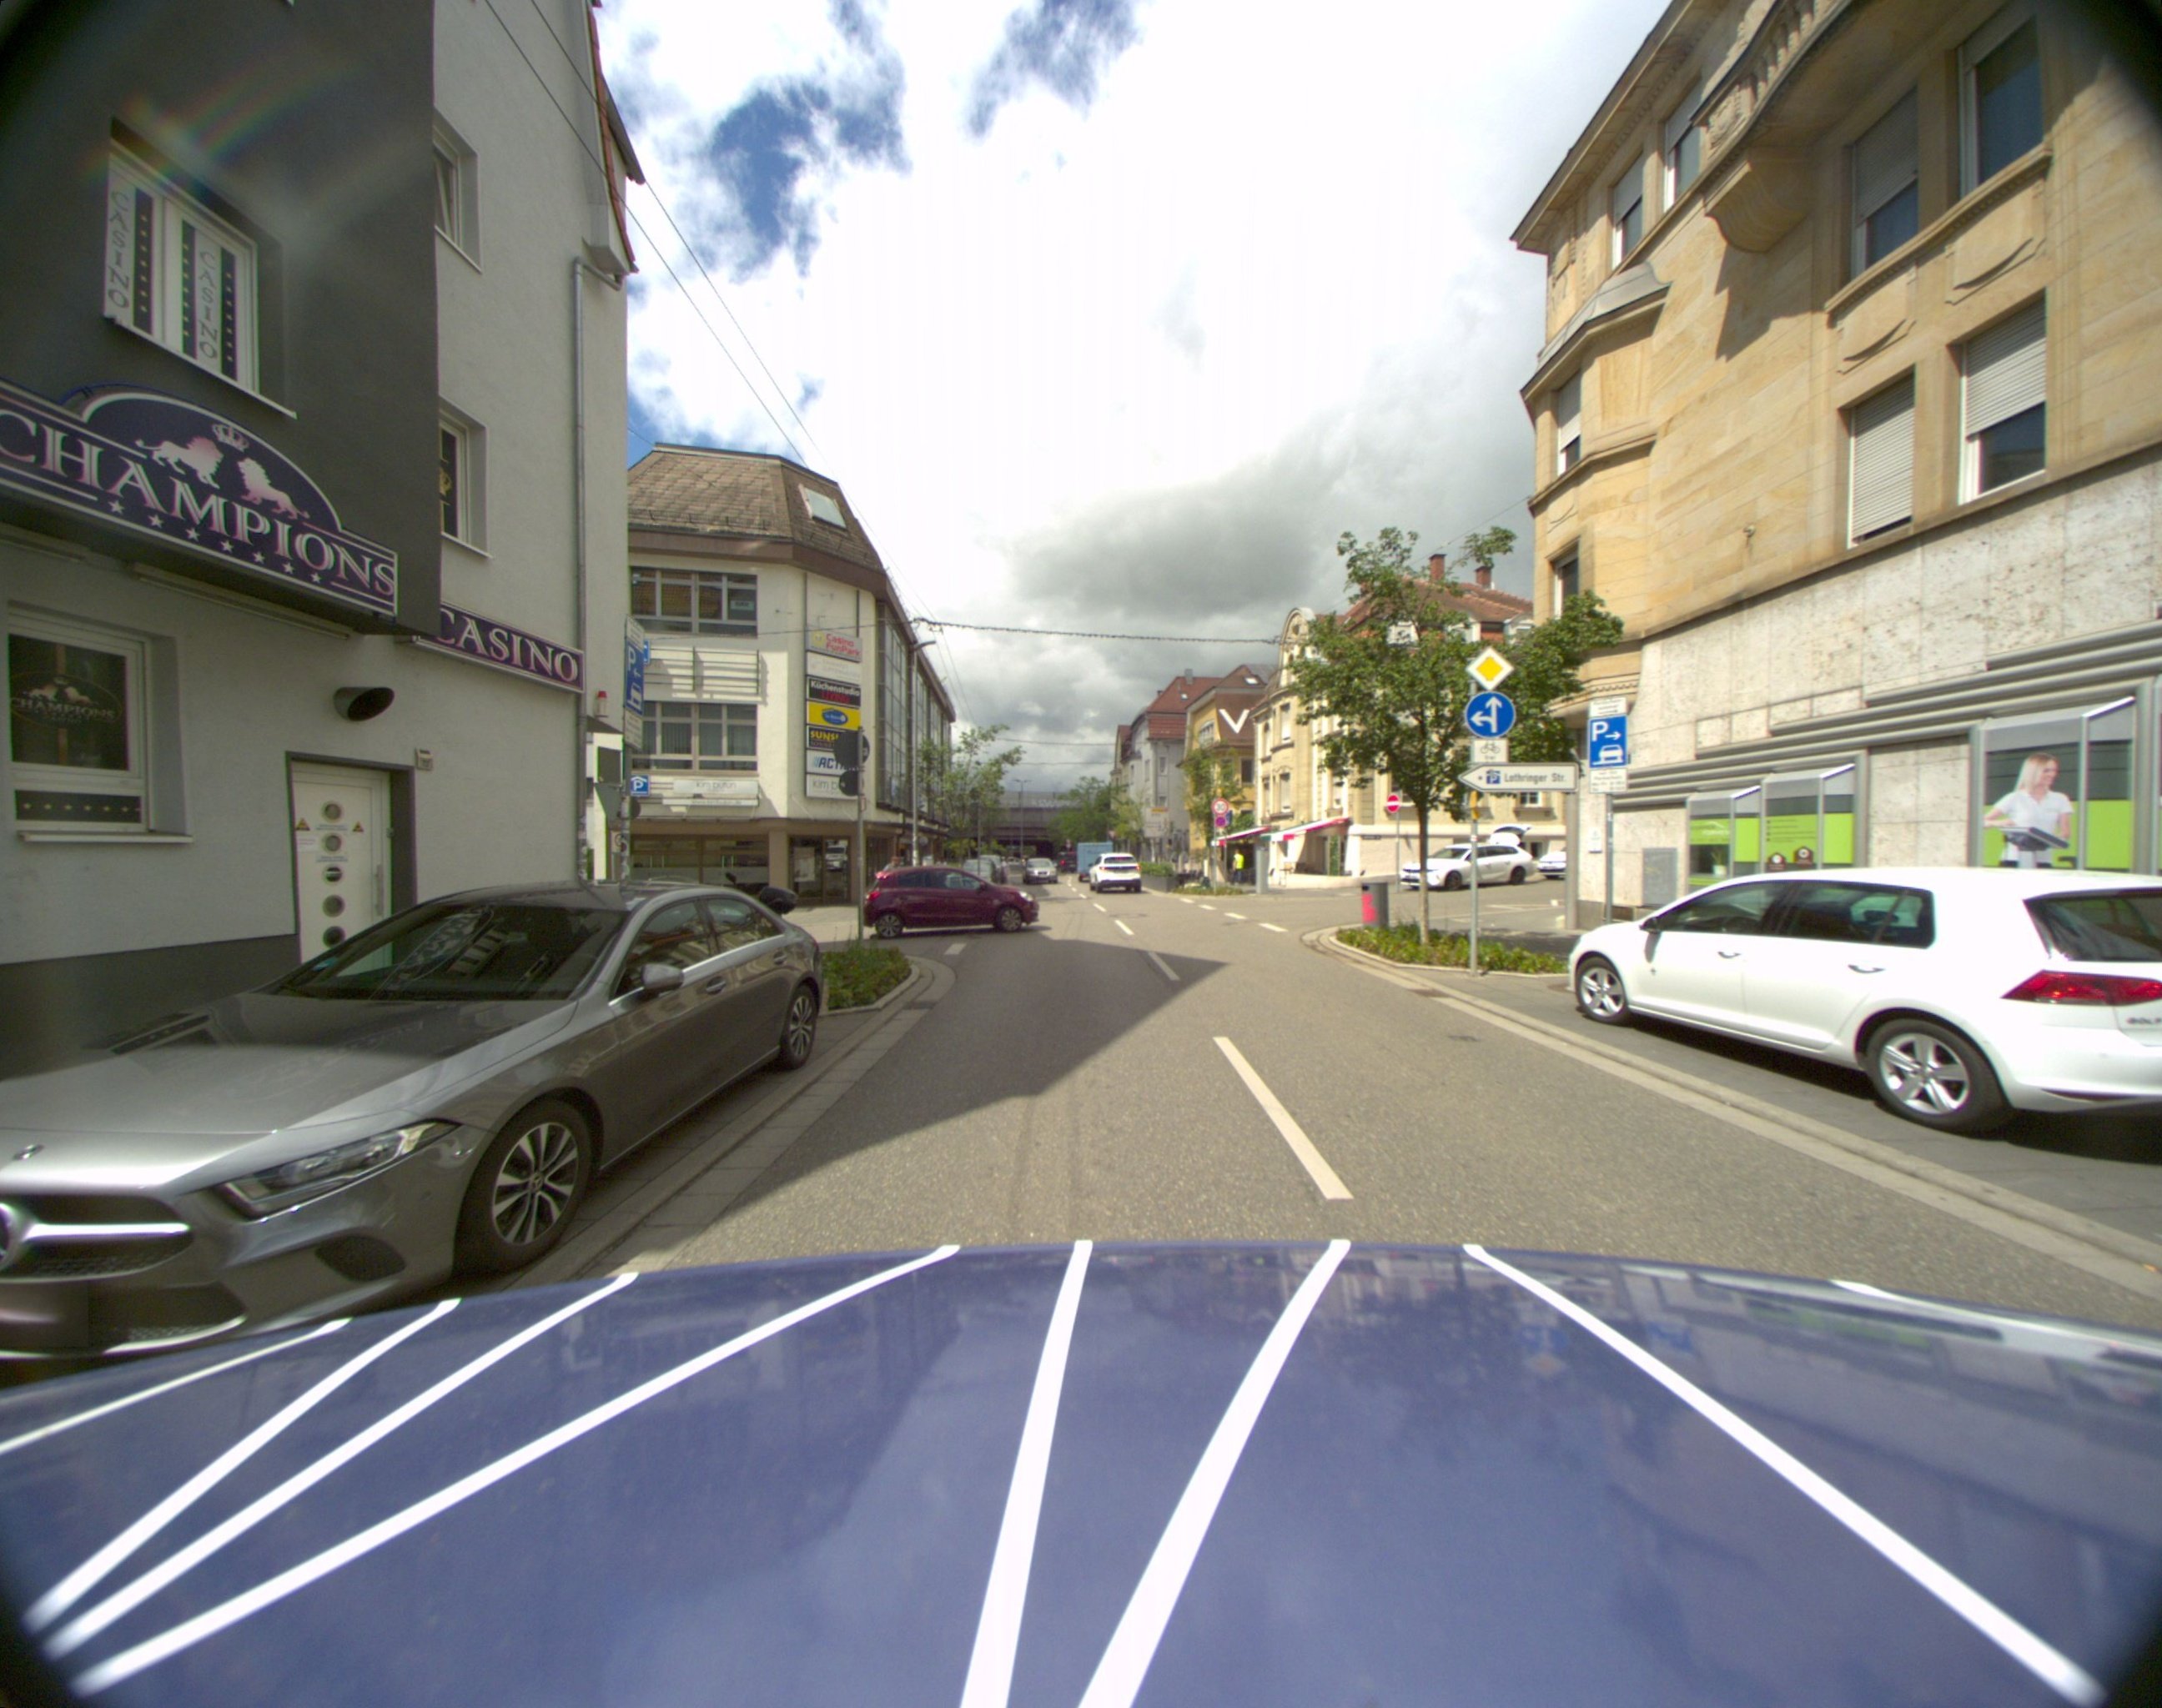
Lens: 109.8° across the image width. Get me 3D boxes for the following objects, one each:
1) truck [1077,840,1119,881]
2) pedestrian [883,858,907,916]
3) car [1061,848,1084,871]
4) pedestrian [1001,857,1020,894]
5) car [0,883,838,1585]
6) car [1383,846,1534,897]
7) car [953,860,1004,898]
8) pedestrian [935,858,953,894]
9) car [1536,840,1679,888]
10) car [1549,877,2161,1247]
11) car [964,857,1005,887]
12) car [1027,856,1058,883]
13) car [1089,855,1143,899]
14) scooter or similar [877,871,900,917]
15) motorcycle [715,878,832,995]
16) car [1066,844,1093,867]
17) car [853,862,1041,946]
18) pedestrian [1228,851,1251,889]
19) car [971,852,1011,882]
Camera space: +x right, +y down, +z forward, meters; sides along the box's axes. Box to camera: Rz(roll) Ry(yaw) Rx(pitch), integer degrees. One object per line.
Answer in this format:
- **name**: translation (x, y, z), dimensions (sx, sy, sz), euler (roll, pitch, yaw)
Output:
- **truck**: translation (0.943, 0.312, 46.355), dimensions (2.112, 2.292, 6.473), euler (-2, 1, -2)
- **pedestrian**: translation (-5.589, 0.984, 22.811), dimensions (0.572, 1.693, 0.481), euler (-2, 1, -6)
- **car**: translation (-0.769, 0.486, 67.486), dimensions (1.877, 1.921, 5.175), euler (-1, -1, -2)
- **pedestrian**: translation (-3.097, 0.944, 33.324), dimensions (0.584, 1.591, 0.549), euler (-1, 2, 17)
- **car**: translation (-2.949, 1.003, 3.966), dimensions (1.711, 1.412, 4.318), euler (-2, 1, 3)
- **car**: translation (12.603, 0.535, 25.381), dimensions (4.391, 1.373, 1.996), euler (-3, 1, -20)
- **car**: translation (-4.293, 1.014, 32.529), dimensions (1.719, 1.445, 4.551), euler (-1, 0, -2)
- **pedestrian**: translation (-5.926, 0.944, 32.890), dimensions (0.661, 1.553, 0.477), euler (-2, 1, -3)
- **car**: translation (18.362, 0.312, 26.526), dimensions (4.236, 1.373, 1.829), euler (-3, 1, -17)
- **car**: translation (5.549, 0.981, 5.390), dimensions (1.850, 1.390, 4.035), euler (-2, 1, -2)
- **car**: translation (-5.035, 0.898, 40.101), dimensions (1.857, 1.436, 4.533), euler (-1, 0, -4)
- **car**: translation (-2.207, 0.867, 44.447), dimensions (1.724, 1.517, 3.597), euler (0, 0, -1)
- **car**: translation (1.410, 0.914, 32.198), dimensions (1.793, 1.630, 4.113), euler (-2, 1, -4)
- **scooter or similar**: translation (-5.776, 1.192, 22.846), dimensions (0.432, 1.273, 1.248), euler (-2, 1, -4)
- **motorcycle**: translation (-4.016, 1.014, 10.148), dimensions (0.661, 1.252, 2.375), euler (-2, 1, -3)
- **car**: translation (-0.200, 0.128, 93.142), dimensions (2.310, 2.657, 7.263), euler (-2, 1, -8)
- **car**: translation (-2.875, 1.008, 16.359), dimensions (3.760, 1.521, 1.535), euler (-2, 1, -13)
- **pedestrian**: translation (7.510, 0.734, 36.116), dimensions (0.801, 1.746, 0.812), euler (-2, 1, -8)
- **car**: translation (-5.291, 0.730, 45.336), dimensions (1.825, 1.652, 4.466), euler (1, 0, 0)
